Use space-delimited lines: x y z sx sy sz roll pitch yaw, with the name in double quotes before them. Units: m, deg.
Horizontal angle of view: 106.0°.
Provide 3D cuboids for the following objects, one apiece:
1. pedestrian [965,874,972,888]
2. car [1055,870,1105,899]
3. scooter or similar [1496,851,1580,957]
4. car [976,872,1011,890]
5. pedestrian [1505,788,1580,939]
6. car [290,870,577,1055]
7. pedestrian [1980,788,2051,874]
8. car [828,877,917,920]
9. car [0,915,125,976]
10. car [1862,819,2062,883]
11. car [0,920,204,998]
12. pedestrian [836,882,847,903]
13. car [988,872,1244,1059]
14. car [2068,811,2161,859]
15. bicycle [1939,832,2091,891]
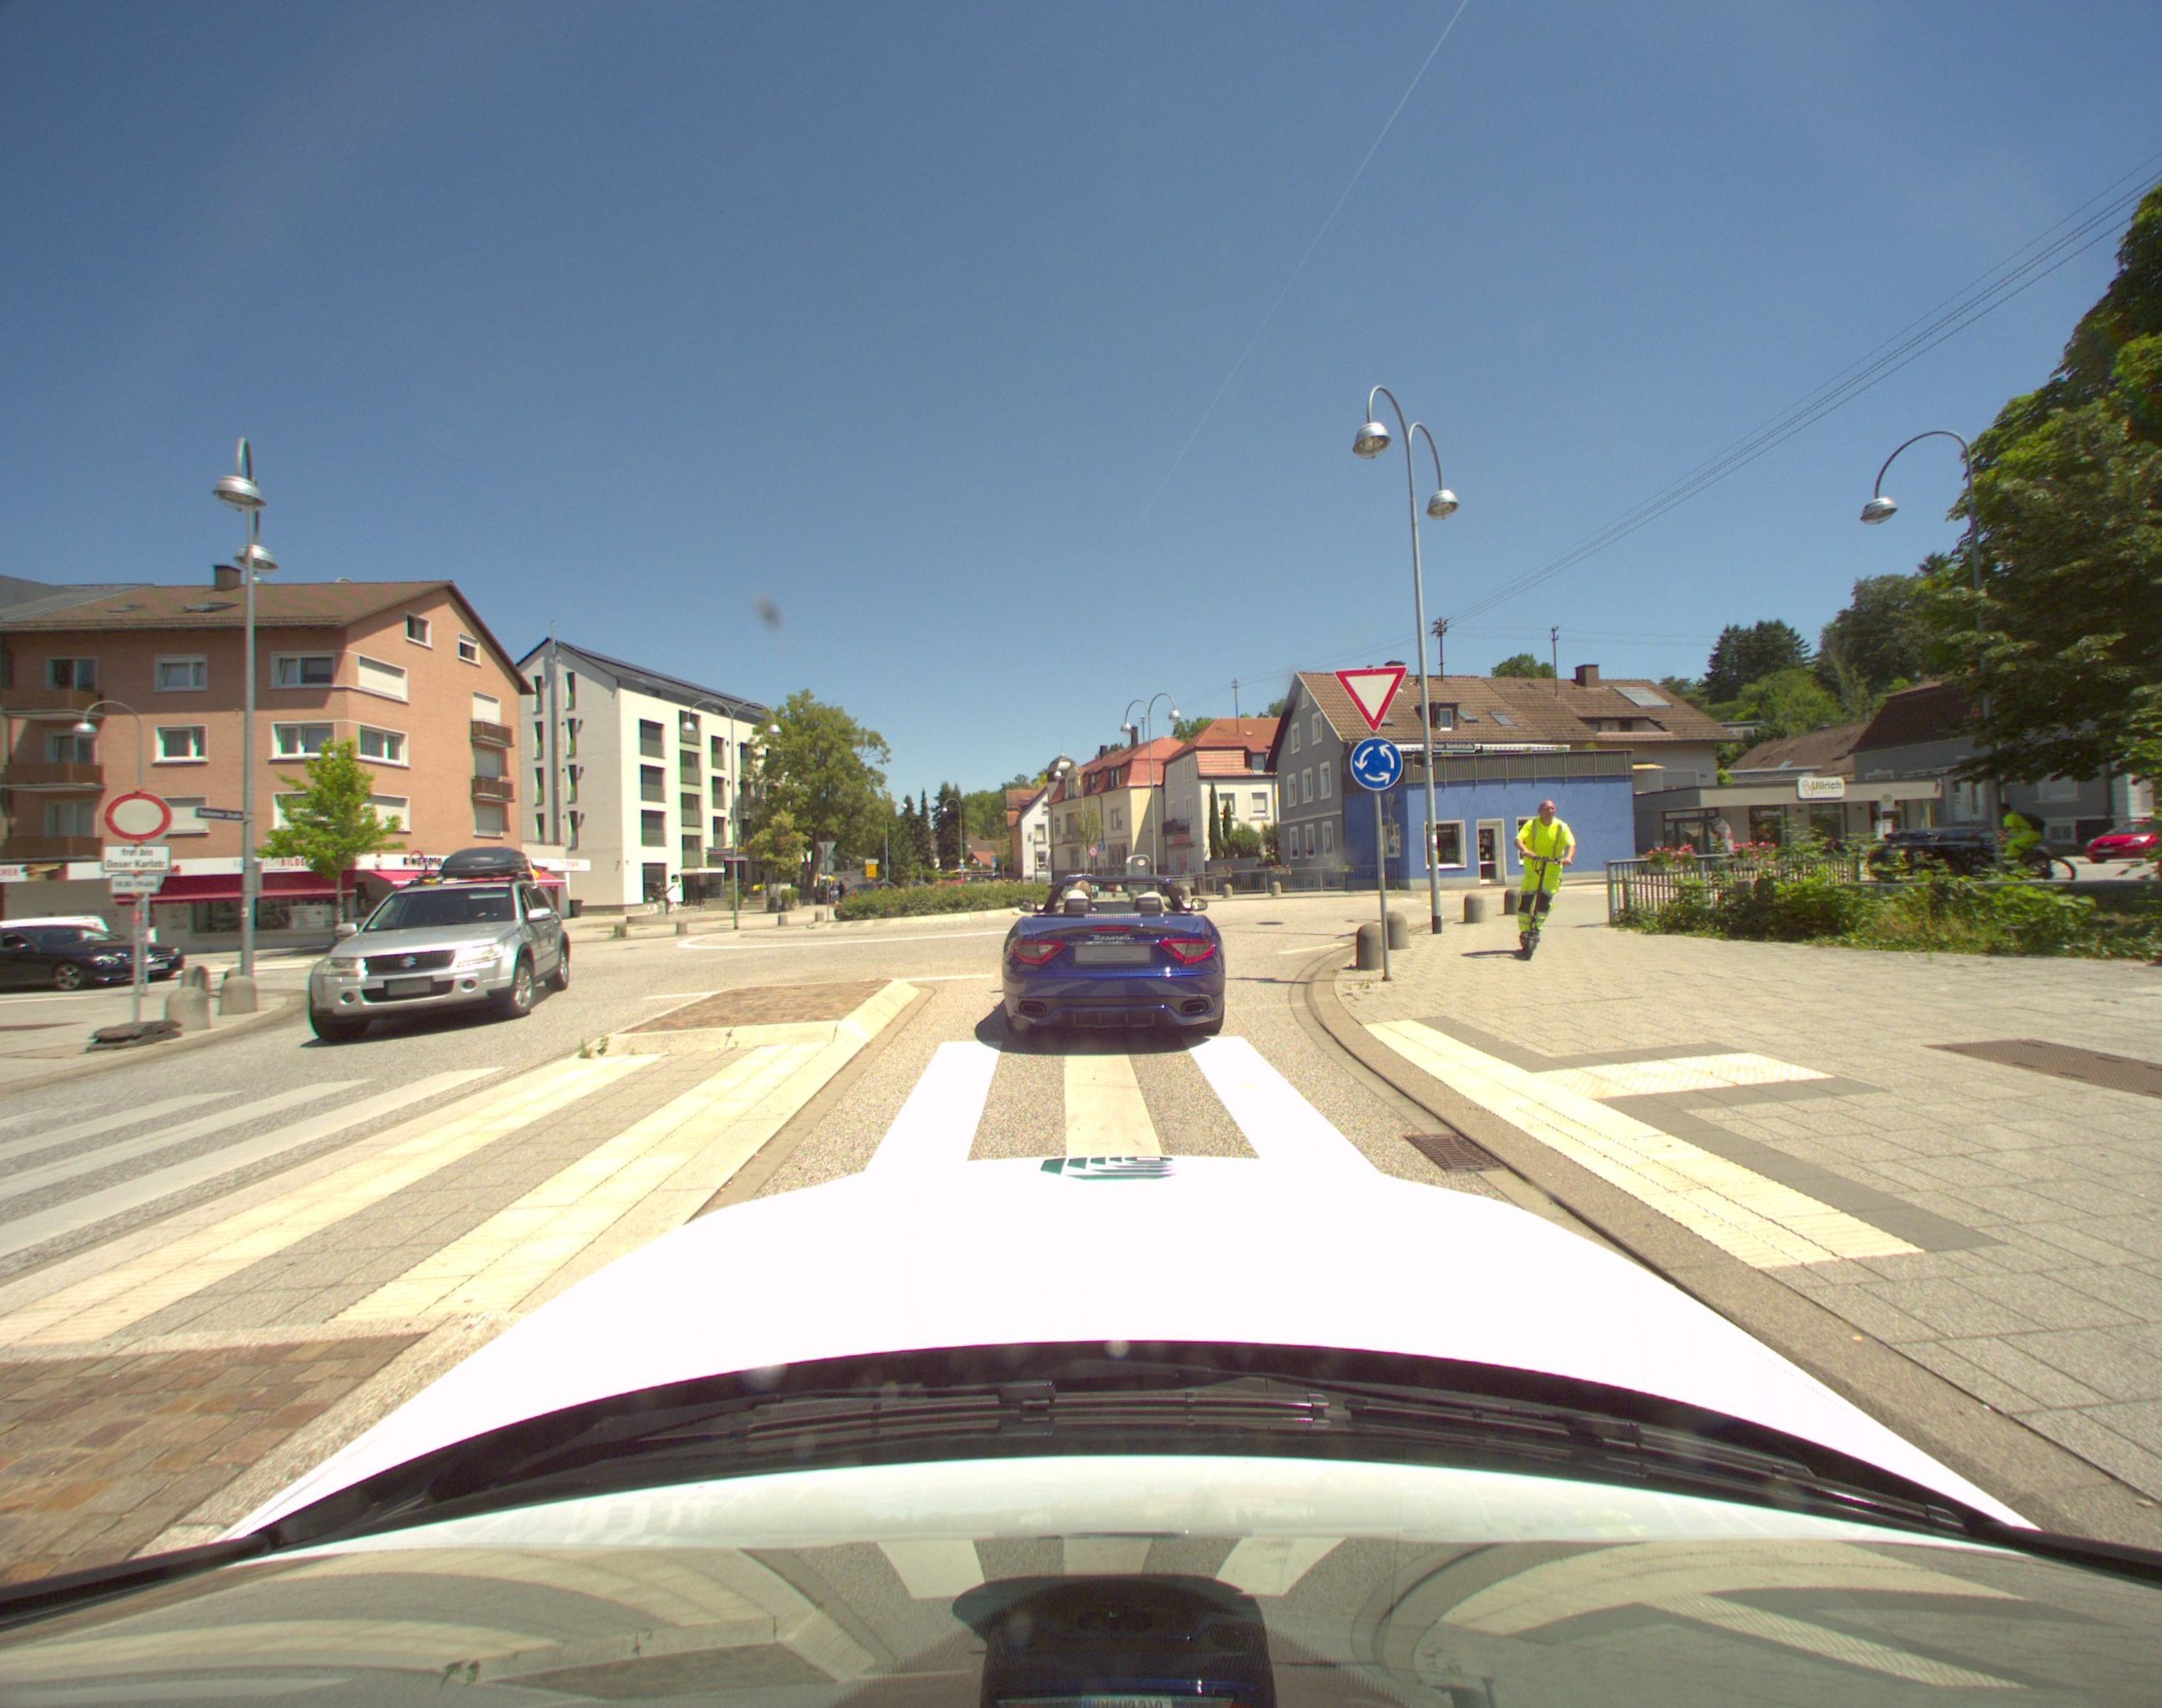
"pedestrian" -12.599 3.028 91.175 0.614 1.585 0.582 -2 -1 -25
"car" -0.094 1.962 51.266 1.924 1.613 4.121 -2 -2 -18
"scooter or similar" 5.677 0.594 10.170 0.525 1.222 1.244 -3 -1 13
"car" -8.460 2.640 78.551 1.861 1.588 3.963 -3 -1 -28
"pedestrian" 5.787 0.120 10.222 0.671 1.799 0.743 -4 -1 29
"car" -7.850 1.167 10.372 1.841 1.688 4.166 -5 0 -25
"pedestrian" 18.604 -0.444 16.233 0.709 1.632 0.752 -4 -2 38
"car" -8.893 1.885 35.125 1.784 1.642 4.077 -3 -2 17
"car" -34.624 3.034 26.620 3.994 1.750 1.793 -3 -1 -15
"car" 24.827 -0.094 23.011 4.249 1.547 1.805 -3 0 -10
"car" -23.647 2.438 18.761 4.490 1.403 1.775 -3 0 -8
"pedestrian" -18.384 2.926 62.632 0.531 1.576 0.564 -3 -1 12
"car" 0.381 0.899 8.308 1.902 1.360 4.289 -2 -1 3
"car" 37.671 -0.712 28.664 3.656 1.552 1.776 -3 -2 -1
"bicycle" 18.554 0.162 16.245 1.825 1.083 0.752 -4 -2 38
